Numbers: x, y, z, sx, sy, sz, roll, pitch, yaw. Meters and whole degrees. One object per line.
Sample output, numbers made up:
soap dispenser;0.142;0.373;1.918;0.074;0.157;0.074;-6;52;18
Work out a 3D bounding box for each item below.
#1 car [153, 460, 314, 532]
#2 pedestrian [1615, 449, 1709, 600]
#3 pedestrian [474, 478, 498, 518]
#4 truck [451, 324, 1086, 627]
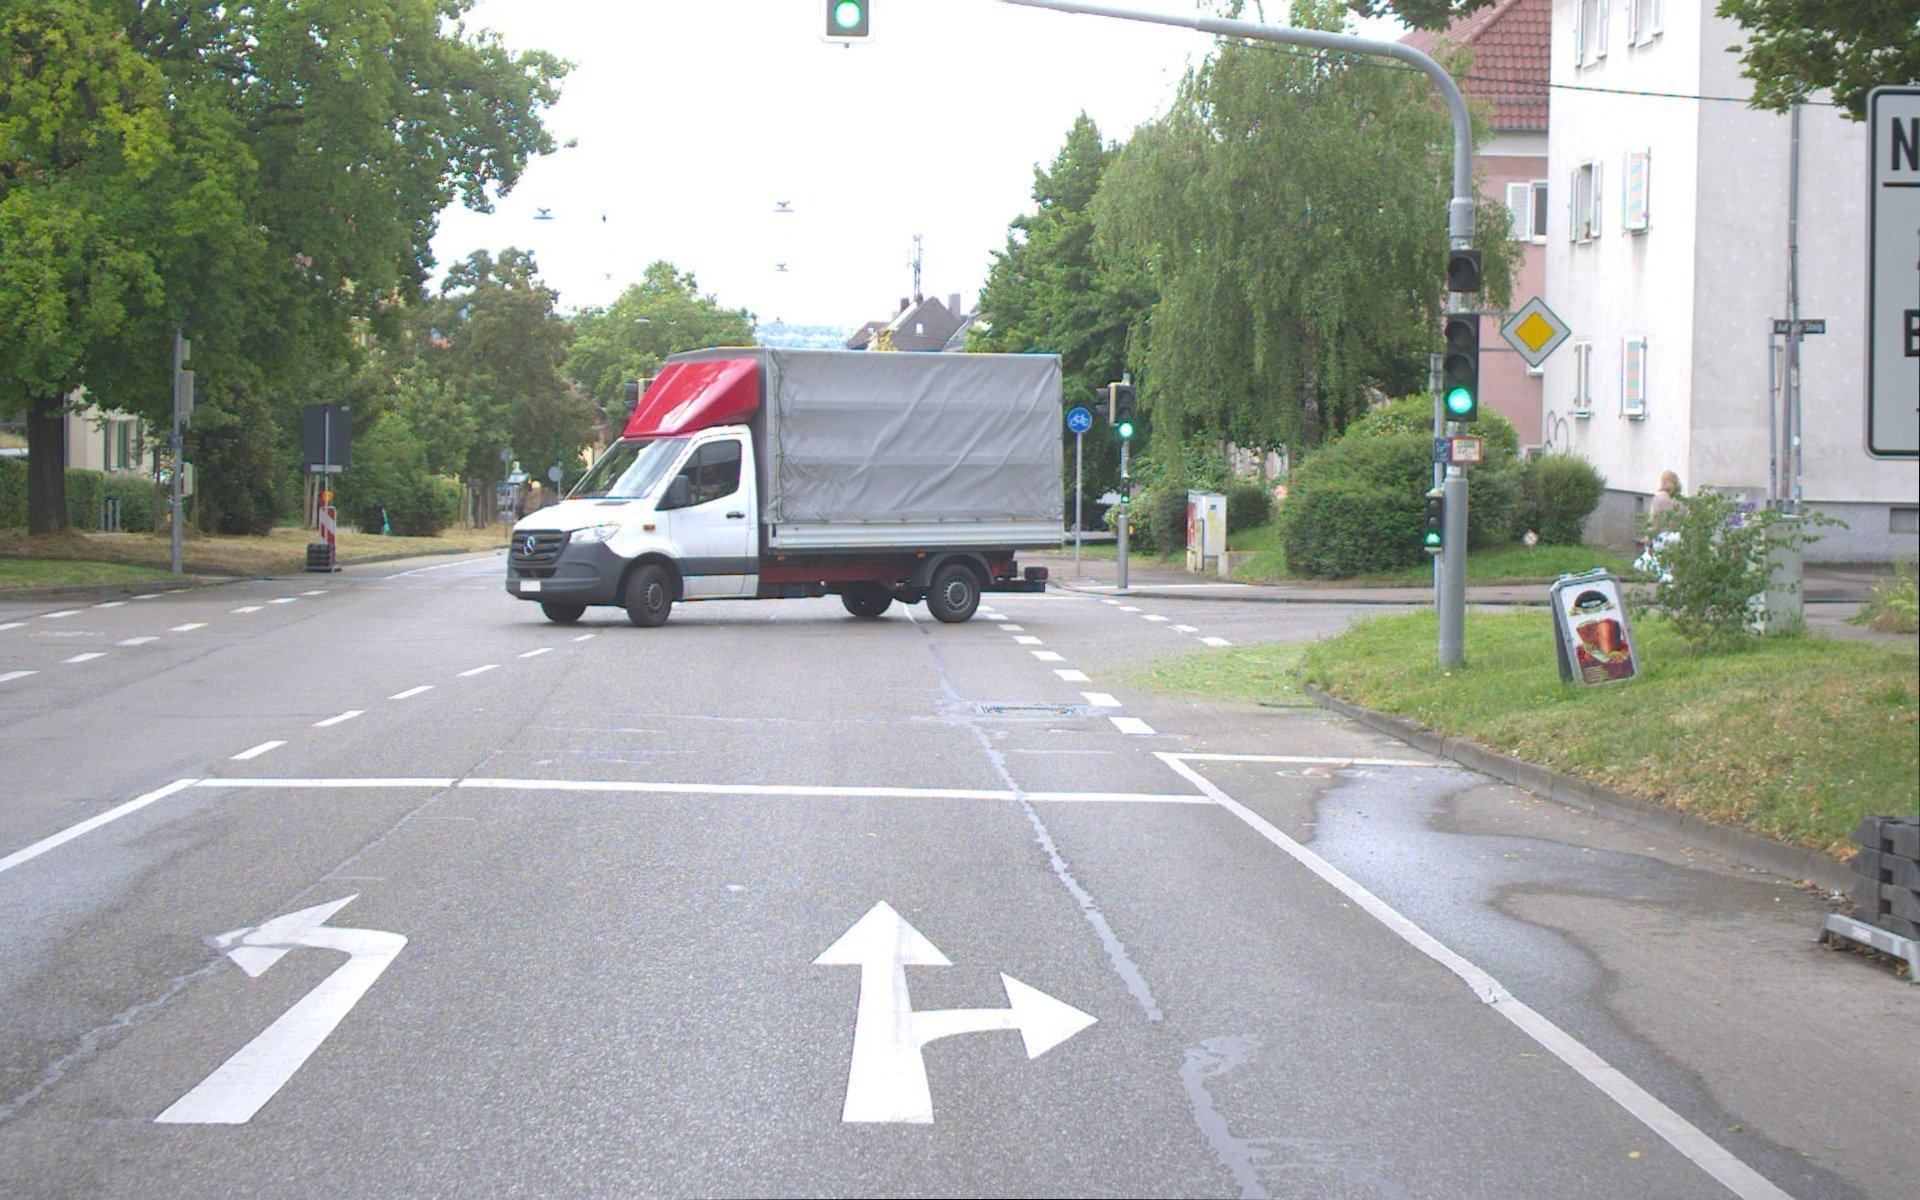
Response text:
car;-17.128;-2.450;81.171;3.448;1.590;2.000;1;1;-4
pedestrian;8.782;-0.951;43.049;0.747;1.848;0.955;-2;2;-17
pedestrian;-19.561;-4.216;141.863;0.948;1.644;1.043;1;1;-9
truck;-2.166;-1.412;40.595;7.228;3.295;2.540;0;2;-36
